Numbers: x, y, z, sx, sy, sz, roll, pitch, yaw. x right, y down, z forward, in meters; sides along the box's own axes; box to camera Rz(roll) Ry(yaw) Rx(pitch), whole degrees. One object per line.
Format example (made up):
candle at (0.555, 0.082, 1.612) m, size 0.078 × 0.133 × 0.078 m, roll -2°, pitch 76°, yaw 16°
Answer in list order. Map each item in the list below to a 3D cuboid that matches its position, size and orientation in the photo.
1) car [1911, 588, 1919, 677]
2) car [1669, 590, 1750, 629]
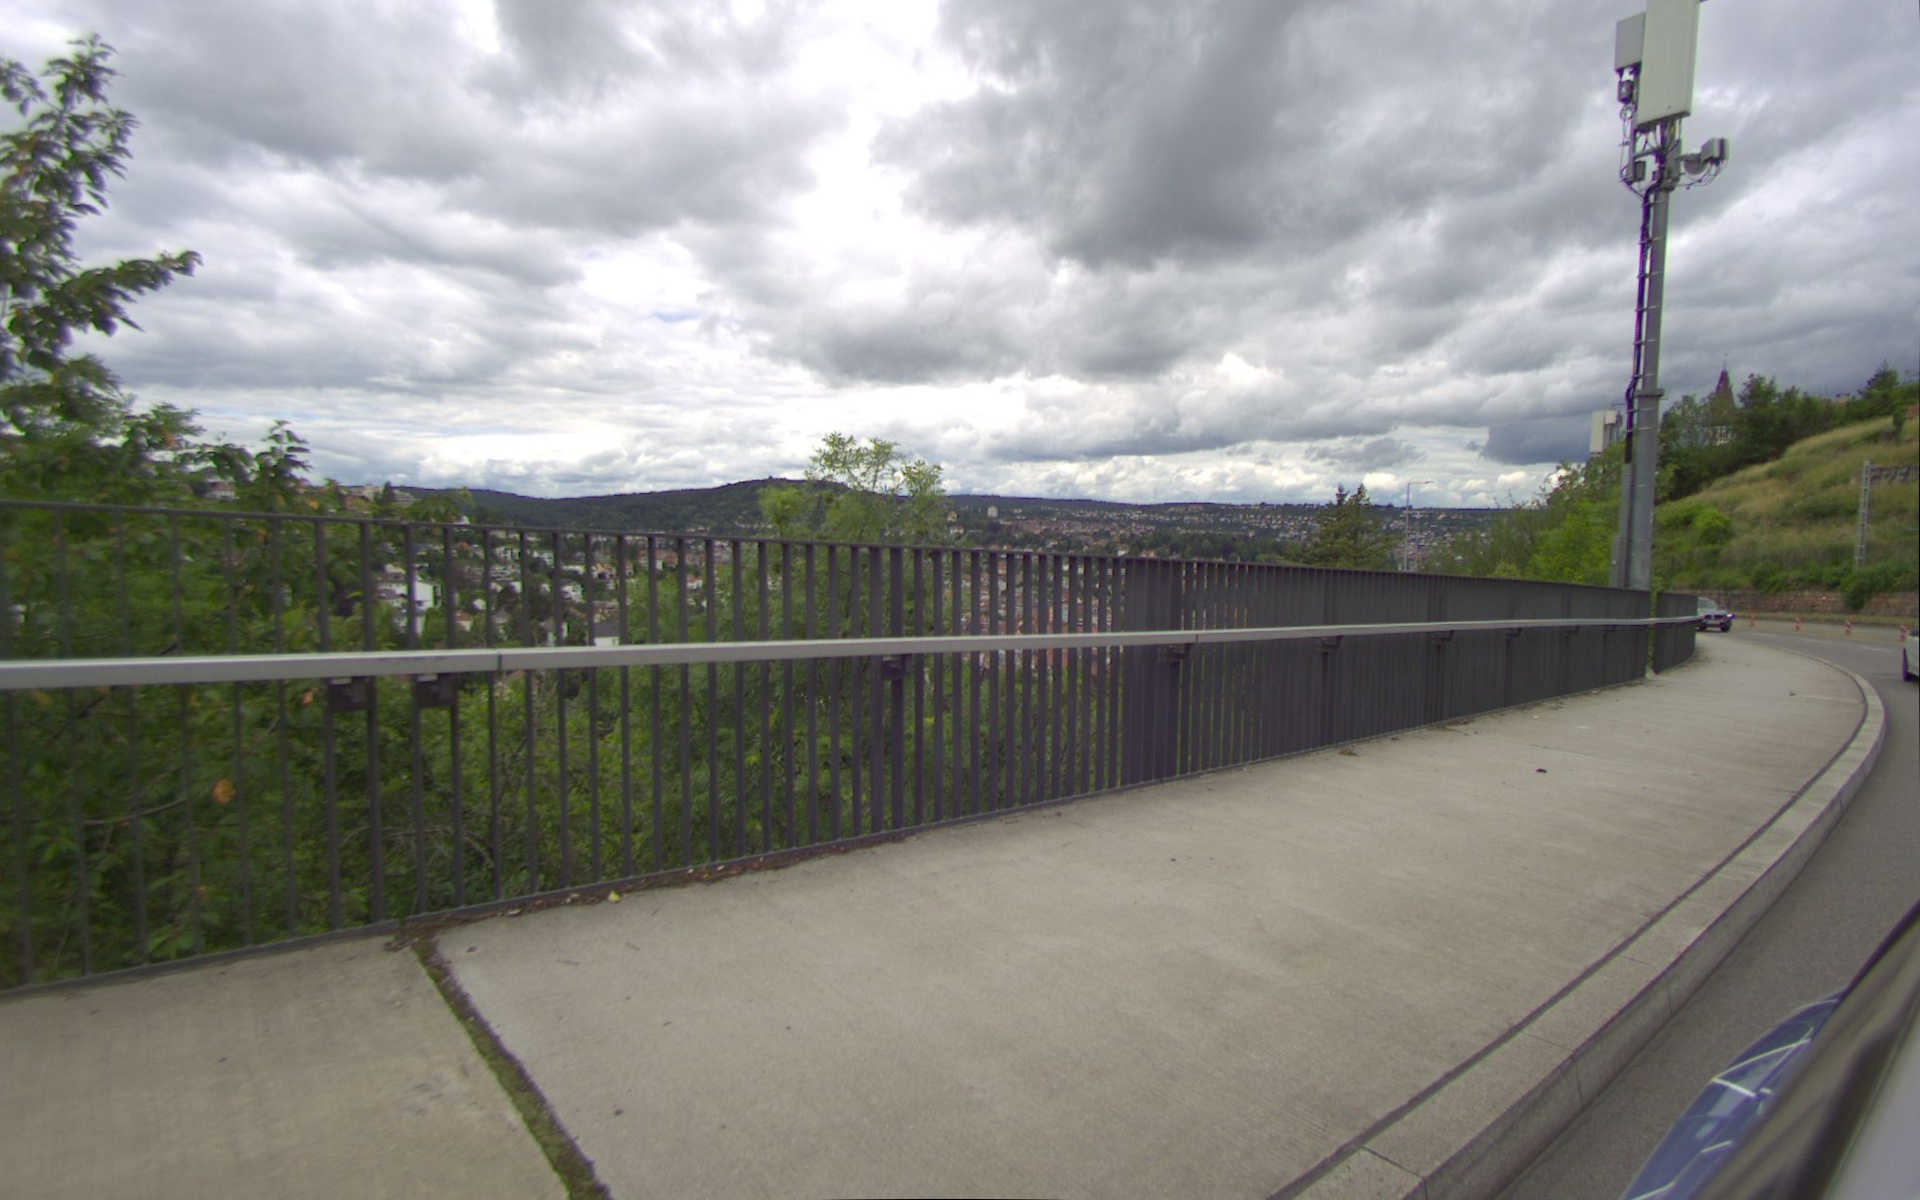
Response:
car at (19.038, 0.645, 18.497) m, size 1.989 × 1.740 × 3.946 m, roll 1°, pitch 0°, yaw 37°
car at (36.049, 0.425, 48.823) m, size 1.977 × 1.691 × 4.505 m, roll 2°, pitch 1°, yaw 22°
